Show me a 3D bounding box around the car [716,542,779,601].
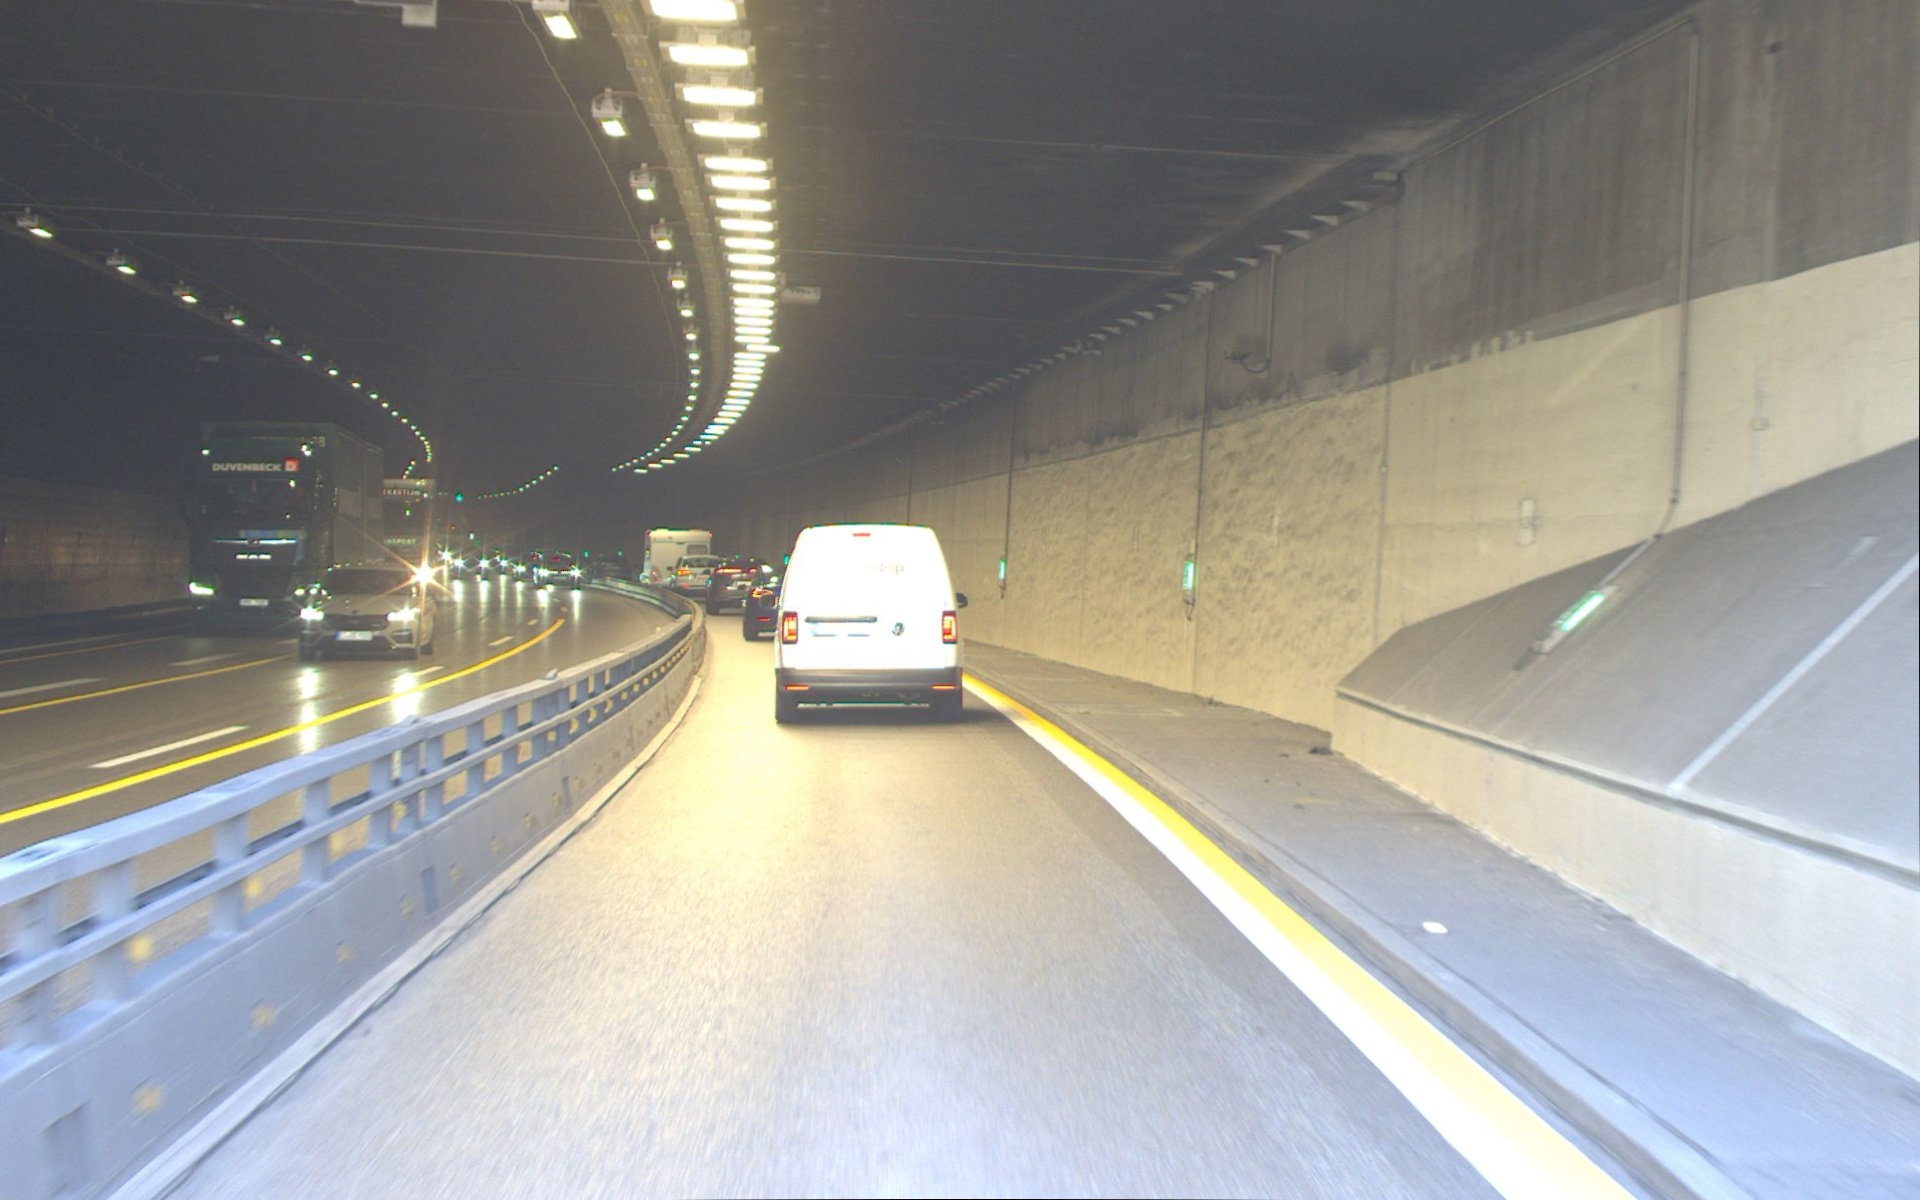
[{"bbox_3d":[-5.716,-0.773,92.070,1.598,1.541,3.678,0,1,-5],"label":"car"}]

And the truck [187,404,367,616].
[{"bbox_3d":[-13.221,-1.704,67.020,2.810,3.902,6.457,1,1,-6],"label":"truck"}]

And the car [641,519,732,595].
[{"bbox_3d":[-10.551,-1.614,132.092,2.813,2.764,7.103,-2,1,-9],"label":"car"}]

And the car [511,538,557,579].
[{"bbox_3d":[-21.473,-2.118,173.128,1.926,1.842,4.362,-1,3,-12],"label":"car"}]

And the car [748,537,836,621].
[{"bbox_3d":[-3.224,-0.408,65.528,1.598,1.541,3.678,1,1,-4],"label":"car"}]

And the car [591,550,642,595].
[{"bbox_3d":[-16.773,-1.364,167.776,2.034,2.014,4.632,5,0,-9],"label":"car"}]

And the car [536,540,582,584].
[{"bbox_3d":[-17.106,-1.625,146.510,1.808,1.848,5.068,1,1,-8],"label":"car"}]

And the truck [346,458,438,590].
[{"bbox_3d":[-18.369,-2.430,111.423,2.659,4.129,5.356,1,1,-7],"label":"truck"}]

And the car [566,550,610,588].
[{"bbox_3d":[-19.858,-1.661,183.283,1.939,2.014,4.663,1,1,-11],"label":"car"}]

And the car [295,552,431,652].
[{"bbox_3d":[-9.126,0.008,52.769,1.821,1.451,4.094,1,1,-7],"label":"car"}]

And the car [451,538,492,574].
[{"bbox_3d":[-24.988,-2.269,175.712,1.808,1.801,5.069,1,1,-11],"label":"car"}]

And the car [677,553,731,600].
[{"bbox_3d":[-8.529,-0.790,114.254,1.598,1.541,3.678,1,1,-7],"label":"car"}]

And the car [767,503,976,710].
[{"bbox_3d":[-0.893,0.059,32.792,1.808,1.788,3.731,2,0,-3],"label":"car"}]

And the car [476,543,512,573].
[{"bbox_3d":[-27.673,-2.505,204.144,1.808,1.712,5.069,1,1,-11],"label":"car"}]

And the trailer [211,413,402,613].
[{"bbox_3d":[-14.062,-1.791,75.086,2.812,3.888,15.464,1,1,-6],"label":"trailer"}]
